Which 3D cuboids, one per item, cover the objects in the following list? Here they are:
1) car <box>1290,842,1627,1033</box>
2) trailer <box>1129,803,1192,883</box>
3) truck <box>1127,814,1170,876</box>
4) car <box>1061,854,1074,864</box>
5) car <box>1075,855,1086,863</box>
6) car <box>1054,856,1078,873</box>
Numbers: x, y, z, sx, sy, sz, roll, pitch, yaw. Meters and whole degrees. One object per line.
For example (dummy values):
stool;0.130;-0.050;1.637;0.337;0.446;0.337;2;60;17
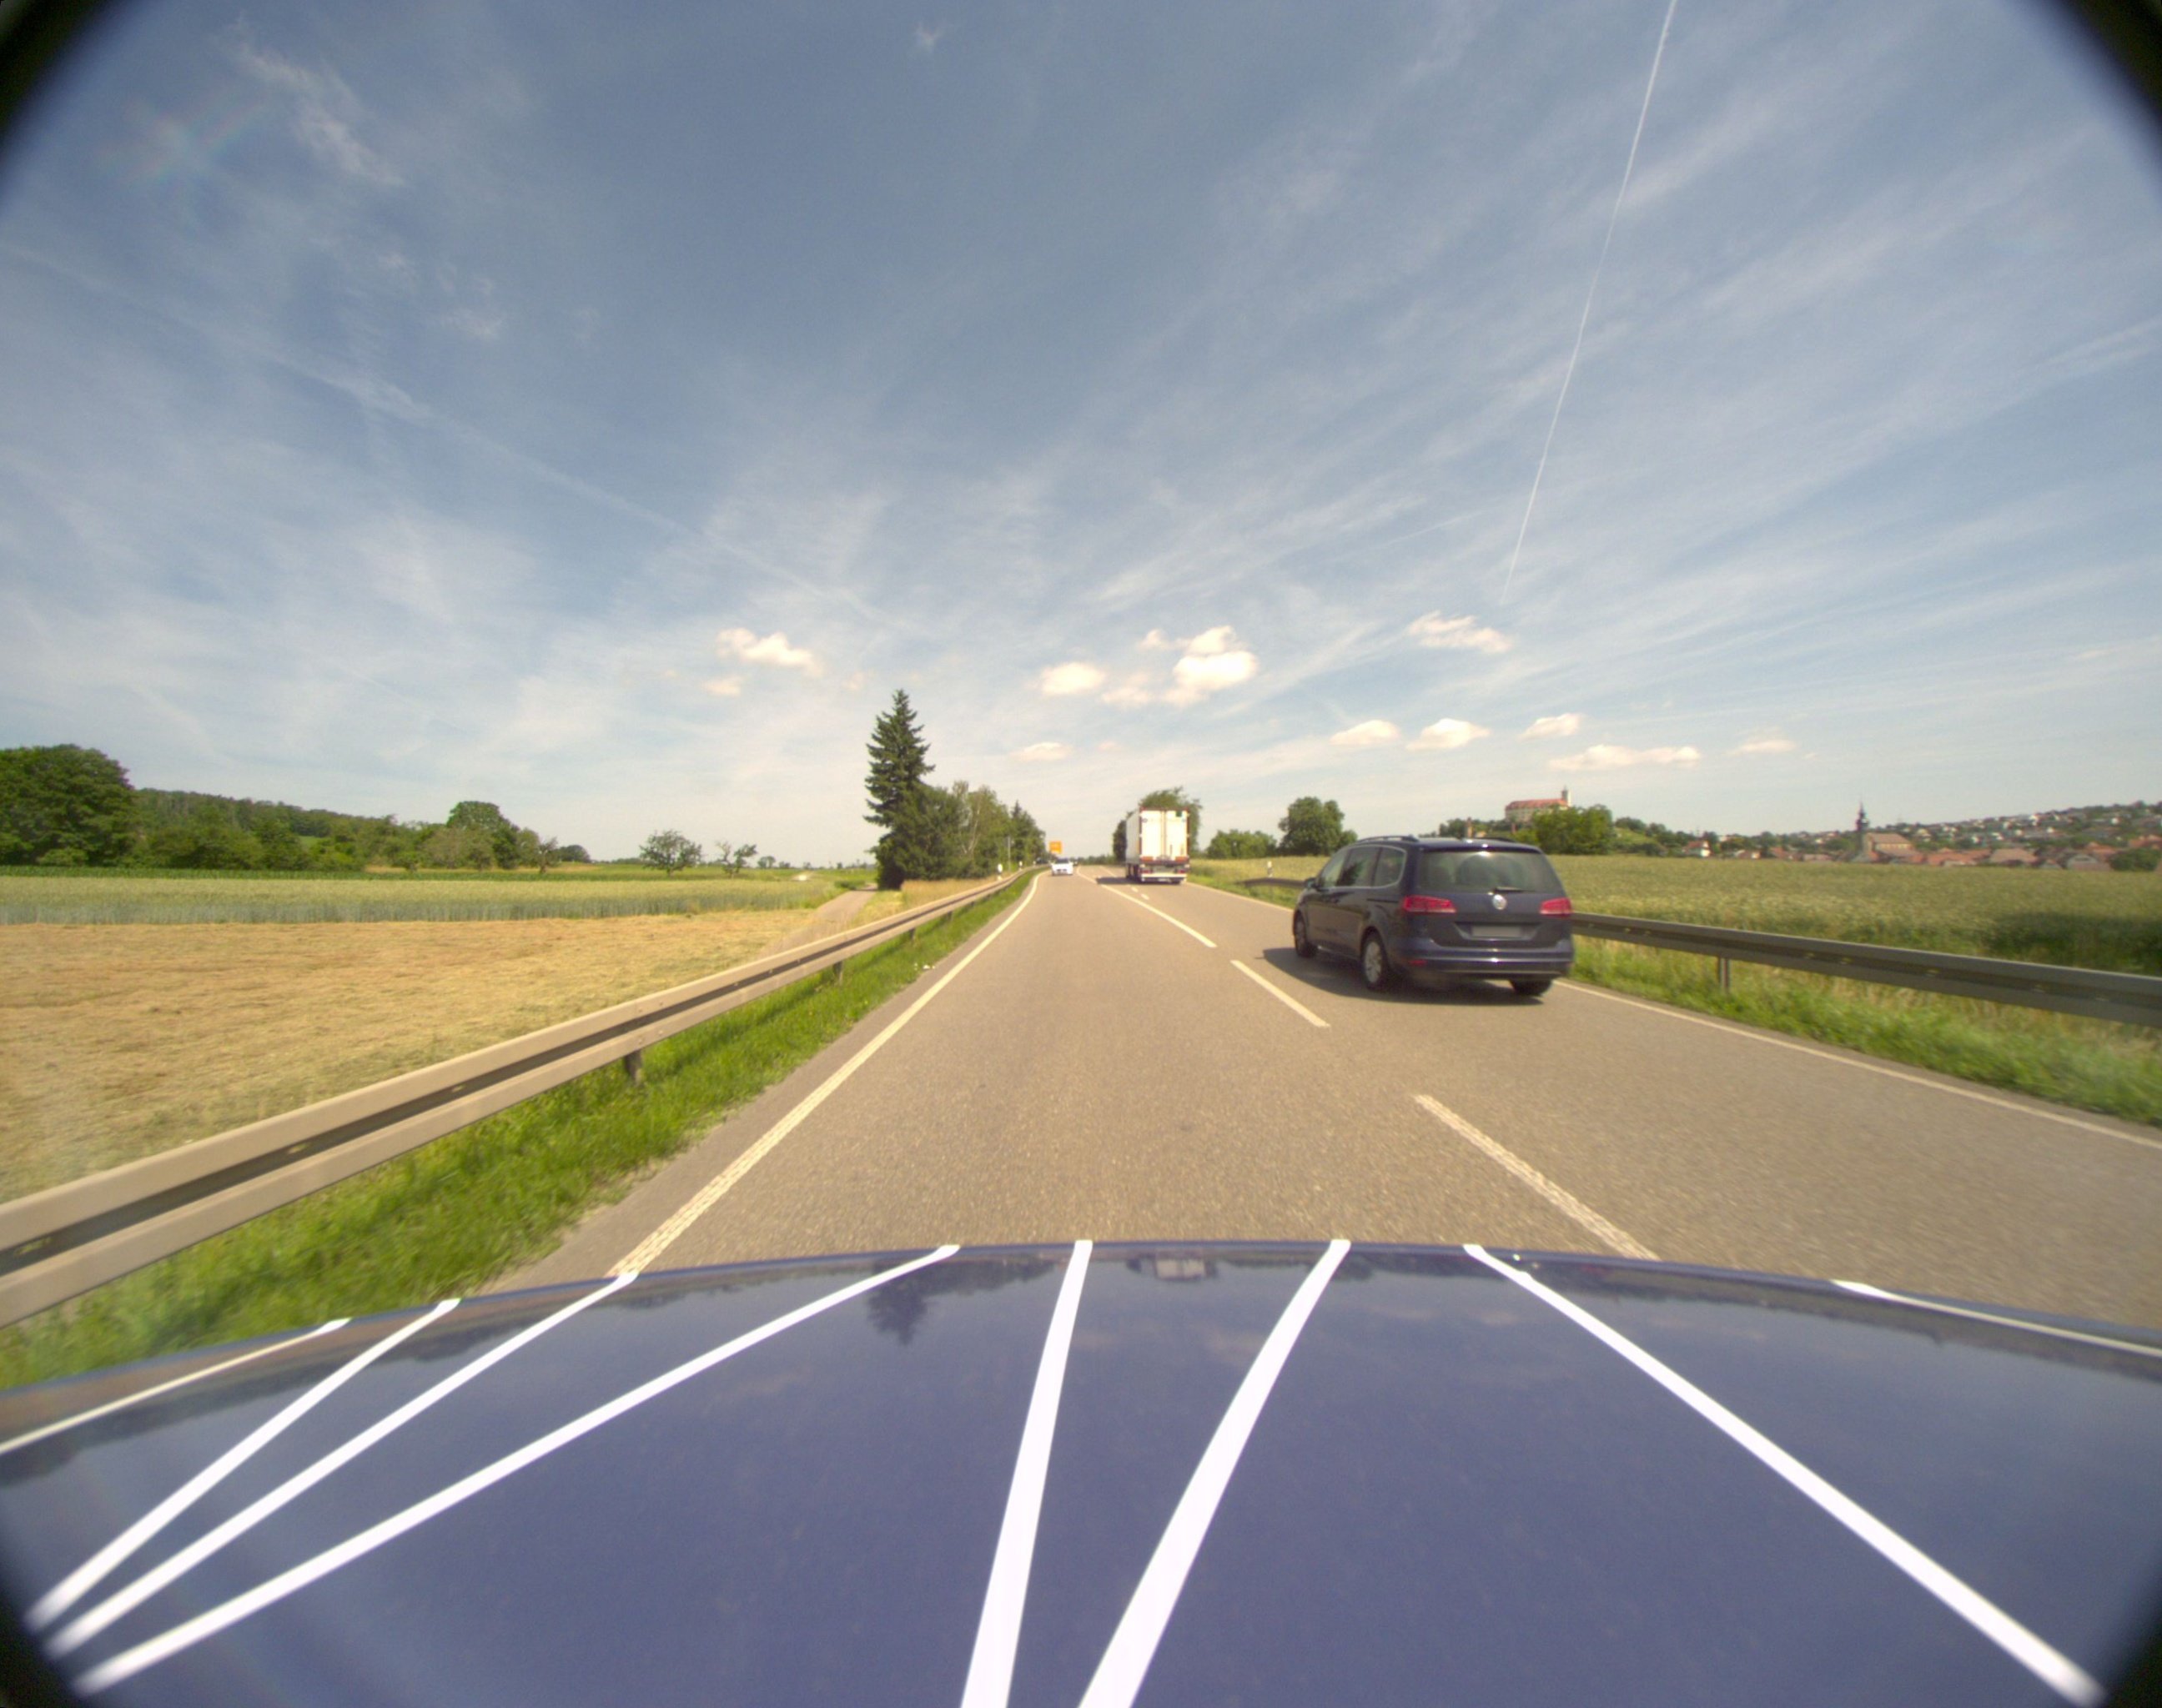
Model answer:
car;4.035;0.757;9.098;1.833;1.712;4.362;1;0;0
trailer;4.549;-0.609;46.442;2.513;4.096;13.897;0;0;1
truck;4.652;-0.591;53.366;2.536;4.096;6.021;0;1;1
car;-2.205;0.835;124.239;1.929;1.441;4.077;-1;-1;-1
car;-0.107;1.016;149.535;1.929;1.441;4.000;-1;-1;-1
car;-1.378;0.894;67.610;1.929;1.441;4.533;-1;0;-3
